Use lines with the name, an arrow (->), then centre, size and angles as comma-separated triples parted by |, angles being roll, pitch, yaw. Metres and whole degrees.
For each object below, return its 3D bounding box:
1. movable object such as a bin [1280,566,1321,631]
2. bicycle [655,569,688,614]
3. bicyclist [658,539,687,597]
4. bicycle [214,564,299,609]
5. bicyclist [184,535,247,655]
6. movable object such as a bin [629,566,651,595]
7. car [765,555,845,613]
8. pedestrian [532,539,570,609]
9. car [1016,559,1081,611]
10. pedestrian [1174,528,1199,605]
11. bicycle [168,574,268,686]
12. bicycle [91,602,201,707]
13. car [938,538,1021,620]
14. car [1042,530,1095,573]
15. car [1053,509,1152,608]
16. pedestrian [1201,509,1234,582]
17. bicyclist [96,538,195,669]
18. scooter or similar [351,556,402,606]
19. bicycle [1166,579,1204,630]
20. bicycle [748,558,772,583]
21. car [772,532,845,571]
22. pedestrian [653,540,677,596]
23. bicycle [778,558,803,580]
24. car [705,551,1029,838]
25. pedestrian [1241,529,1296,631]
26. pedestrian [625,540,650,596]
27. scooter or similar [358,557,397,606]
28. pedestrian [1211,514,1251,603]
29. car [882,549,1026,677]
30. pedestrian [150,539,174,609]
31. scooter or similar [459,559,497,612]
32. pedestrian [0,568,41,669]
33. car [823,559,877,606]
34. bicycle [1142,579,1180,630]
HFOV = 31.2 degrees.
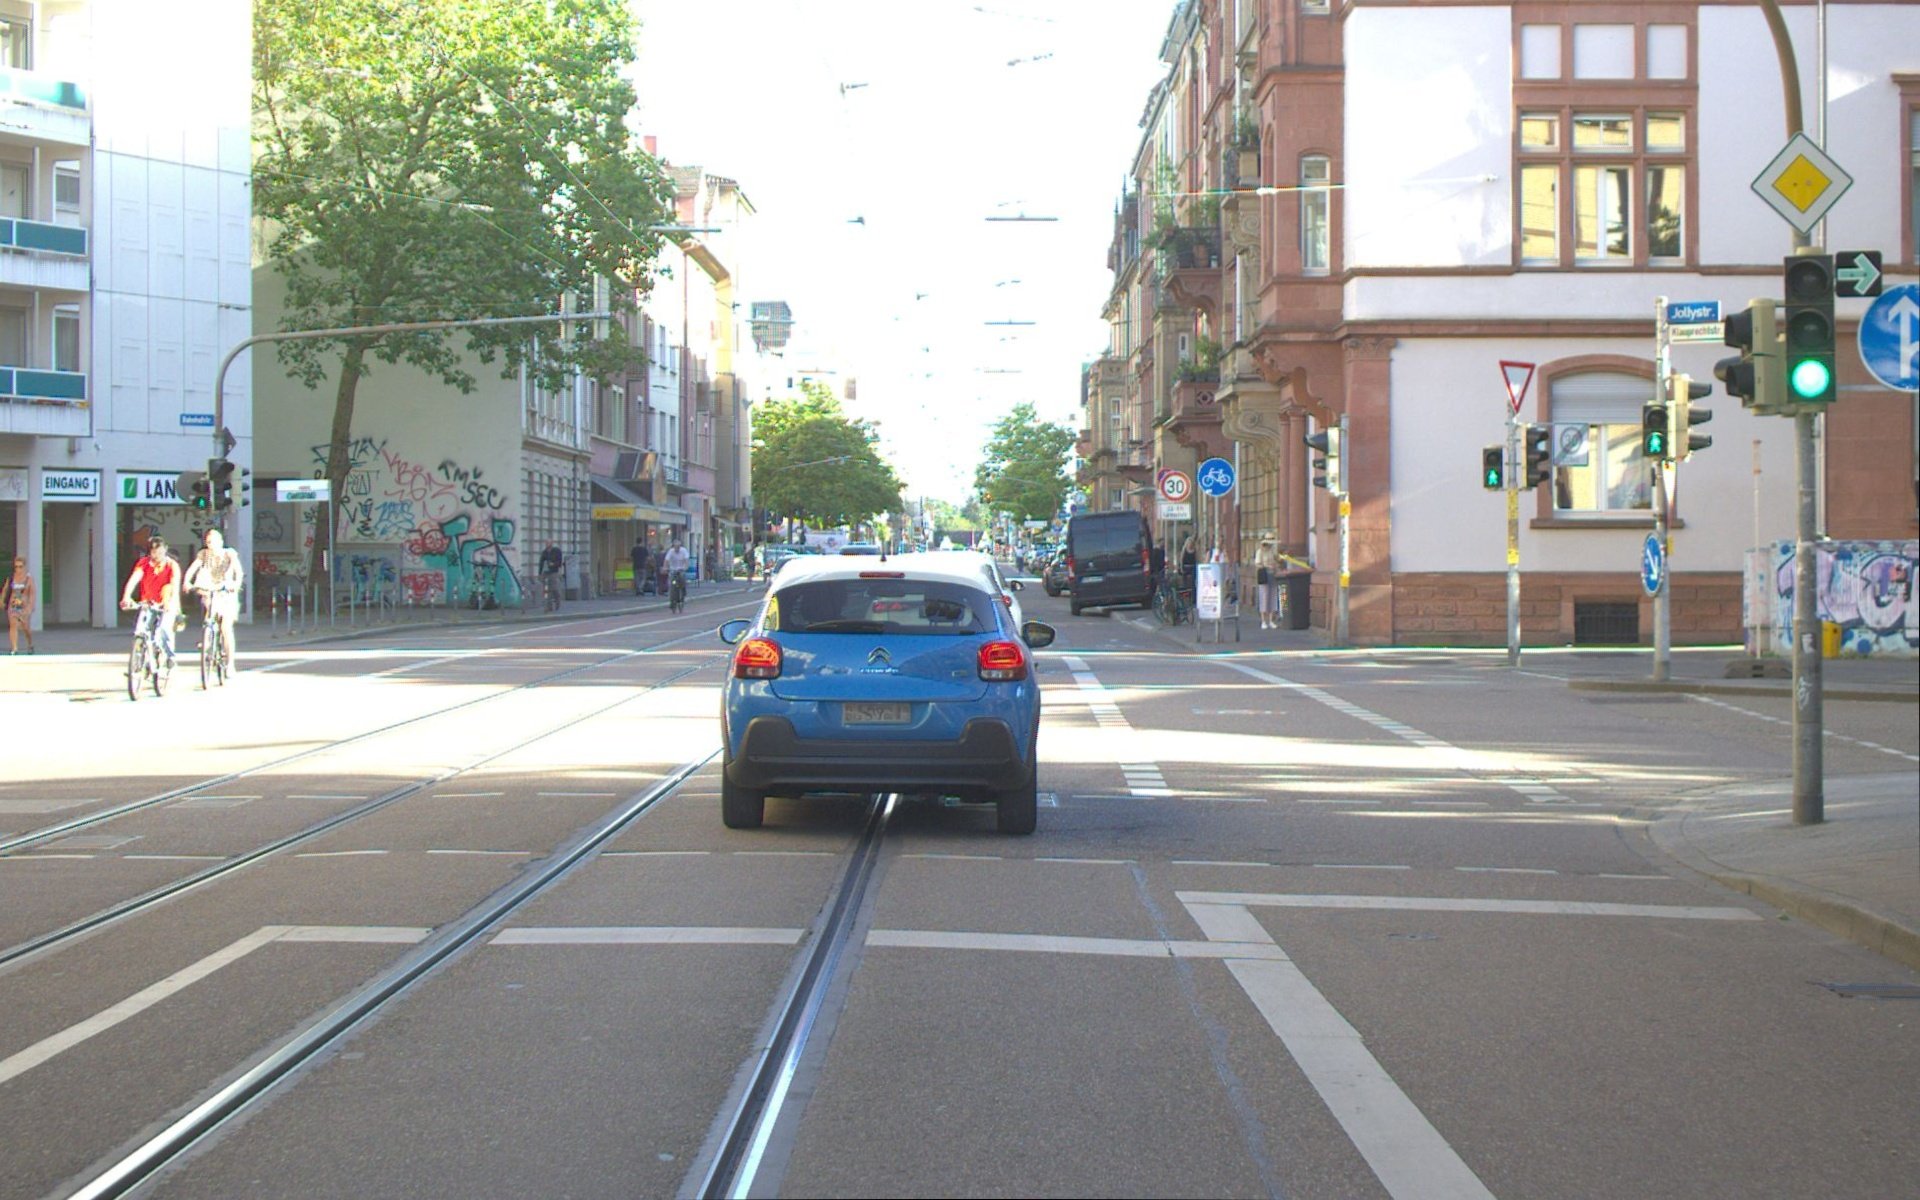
movable object such as a bin -> 6.014, -0.029, 60.768 | 0.666, 1.150, 0.594 | 0, 1, -1
bicycle -> -7.406, -0.226, 88.376 | 0.692, 1.116, 2.084 | 0, 1, -1
bicyclist -> -7.420, -0.835, 88.712 | 0.682, 1.478, 0.778 | 0, 1, -1
bicycle -> -16.218, -0.322, 79.224 | 1.919, 1.031, 0.664 | 0, 1, 27
bicyclist -> -8.550, -0.063, 39.499 | 0.590, 1.371, 0.679 | 0, 1, -1
movable object such as a bin -> -10.102, -0.615, 108.520 | 0.610, 0.911, 0.695 | 0, 1, 0
car -> -4.112, -0.452, 91.754 | 1.985, 1.497, 4.309 | 0, 1, -1
pedestrian -> -10.429, -0.668, 87.614 | 0.682, 1.759, 1.025 | 0, 1, 11
car -> 2.914, -0.513, 113.951 | 2.005, 1.667, 4.806 | 0, 1, 0
pedestrian -> 5.940, -0.885, 90.173 | 0.585, 2.007, 0.823 | 0, 1, -1
bicycle -> -8.505, 0.361, 39.464 | 0.730, 1.179, 2.061 | 0, -3, -1
bicycle -> -8.679, 0.563, 36.716 | 0.730, 1.062, 2.062 | 0, 1, -1
car -> 0.461, -0.536, 86.720 | 1.993, 2.007, 4.000 | 0, 1, -1
car -> 4.382, -1.946, 138.096 | 2.006, 1.667, 4.390 | 0, 1, 3
car -> 3.562, -1.059, 86.826 | 2.271, 2.428, 5.720 | 0, 1, 0
pedestrian -> 6.438, -1.369, 85.935 | 0.553, 1.776, 0.606 | 8, 1, -1
bicyclist -> -8.672, 0.027, 36.670 | 0.735, 1.376, 1.469 | 0, 1, -1
scooter or similar -> -14.524, -0.477, 85.534 | 1.227, 1.253, 0.768 | 0, 1, -12
bicycle -> 4.348, 0.078, 66.509 | 0.431, 0.944, 1.764 | 0, 1, -7
bicycle -> -10.387, -1.536, 178.645 | 1.120, 1.315, 3.645 | 0, 1, -5
car -> -10.027, -3.200, 227.398 | 4.307, 2.572, 2.210 | 0, 1, -25
pedestrian -> -9.265, -0.997, 107.935 | 0.710, 1.758, 0.655 | 0, 1, -3
bicycle -> -8.819, -1.632, 178.867 | 1.120, 1.142, 3.645 | 0, 1, -5
car -> -0.570, 0.459, 19.747 | 1.673, 1.472, 4.001 | 0, 1, -3
pedestrian -> 5.605, -0.367, 62.479 | 0.705, 1.776, 0.673 | -8, 1, -1
pedestrian -> -10.123, -0.997, 107.841 | 0.710, 1.758, 0.570 | 0, 1, -1
scooter or similar -> -14.697, -0.465, 86.740 | 0.937, 1.218, 0.768 | 0, 1, -12
pedestrian -> 5.216, -0.794, 66.109 | 0.626, 1.695, 0.682 | 0, 1, -9
car -> -0.104, 0.120, 42.083 | 1.667, 1.473, 4.000 | 0, 1, -1
pedestrian -> -19.795, -0.651, 85.286 | 0.456, 1.712, 0.547 | 0, 1, -1
scooter or similar -> -12.185, -0.370, 86.888 | 0.788, 1.267, 1.075 | 2, 2, -1
pedestrian -> -14.479, 0.276, 52.877 | 0.542, 1.547, 0.516 | 0, 1, -1
car -> -4.172, -0.670, 130.904 | 1.993, 1.738, 4.563 | 0, 1, -1
bicycle -> 3.881, 0.080, 66.488 | 0.431, 0.944, 1.764 | 0, 1, -7
